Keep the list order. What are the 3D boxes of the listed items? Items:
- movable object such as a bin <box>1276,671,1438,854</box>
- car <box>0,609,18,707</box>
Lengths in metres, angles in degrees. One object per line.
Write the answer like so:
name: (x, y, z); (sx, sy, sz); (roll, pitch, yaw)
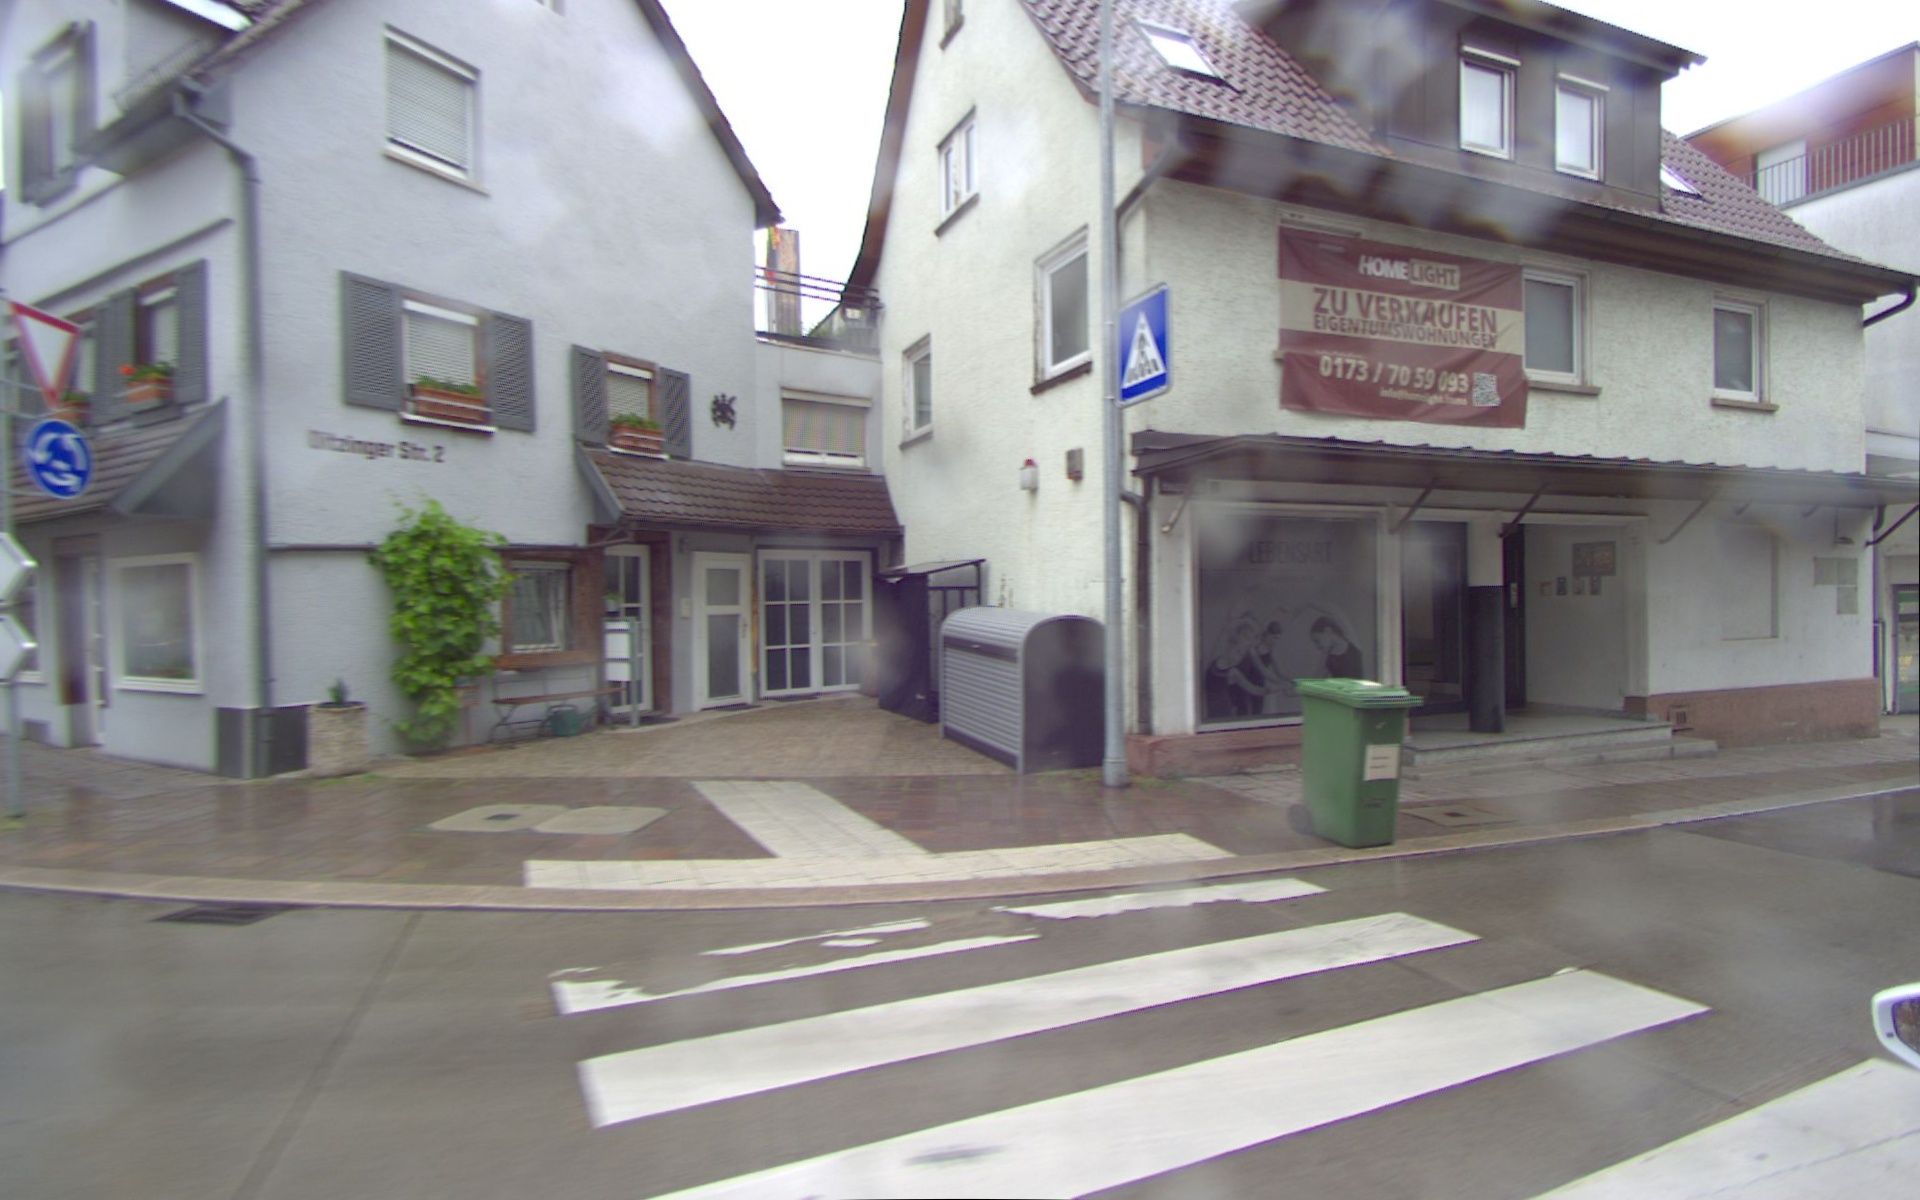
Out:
movable object such as a bin: (2.714, 1.070, 6.888); (0.752, 1.095, 0.684); (1, 1, -30)
car: (-19.206, 1.082, 18.073); (2.134, 1.923, 4.888); (0, -2, -29)
